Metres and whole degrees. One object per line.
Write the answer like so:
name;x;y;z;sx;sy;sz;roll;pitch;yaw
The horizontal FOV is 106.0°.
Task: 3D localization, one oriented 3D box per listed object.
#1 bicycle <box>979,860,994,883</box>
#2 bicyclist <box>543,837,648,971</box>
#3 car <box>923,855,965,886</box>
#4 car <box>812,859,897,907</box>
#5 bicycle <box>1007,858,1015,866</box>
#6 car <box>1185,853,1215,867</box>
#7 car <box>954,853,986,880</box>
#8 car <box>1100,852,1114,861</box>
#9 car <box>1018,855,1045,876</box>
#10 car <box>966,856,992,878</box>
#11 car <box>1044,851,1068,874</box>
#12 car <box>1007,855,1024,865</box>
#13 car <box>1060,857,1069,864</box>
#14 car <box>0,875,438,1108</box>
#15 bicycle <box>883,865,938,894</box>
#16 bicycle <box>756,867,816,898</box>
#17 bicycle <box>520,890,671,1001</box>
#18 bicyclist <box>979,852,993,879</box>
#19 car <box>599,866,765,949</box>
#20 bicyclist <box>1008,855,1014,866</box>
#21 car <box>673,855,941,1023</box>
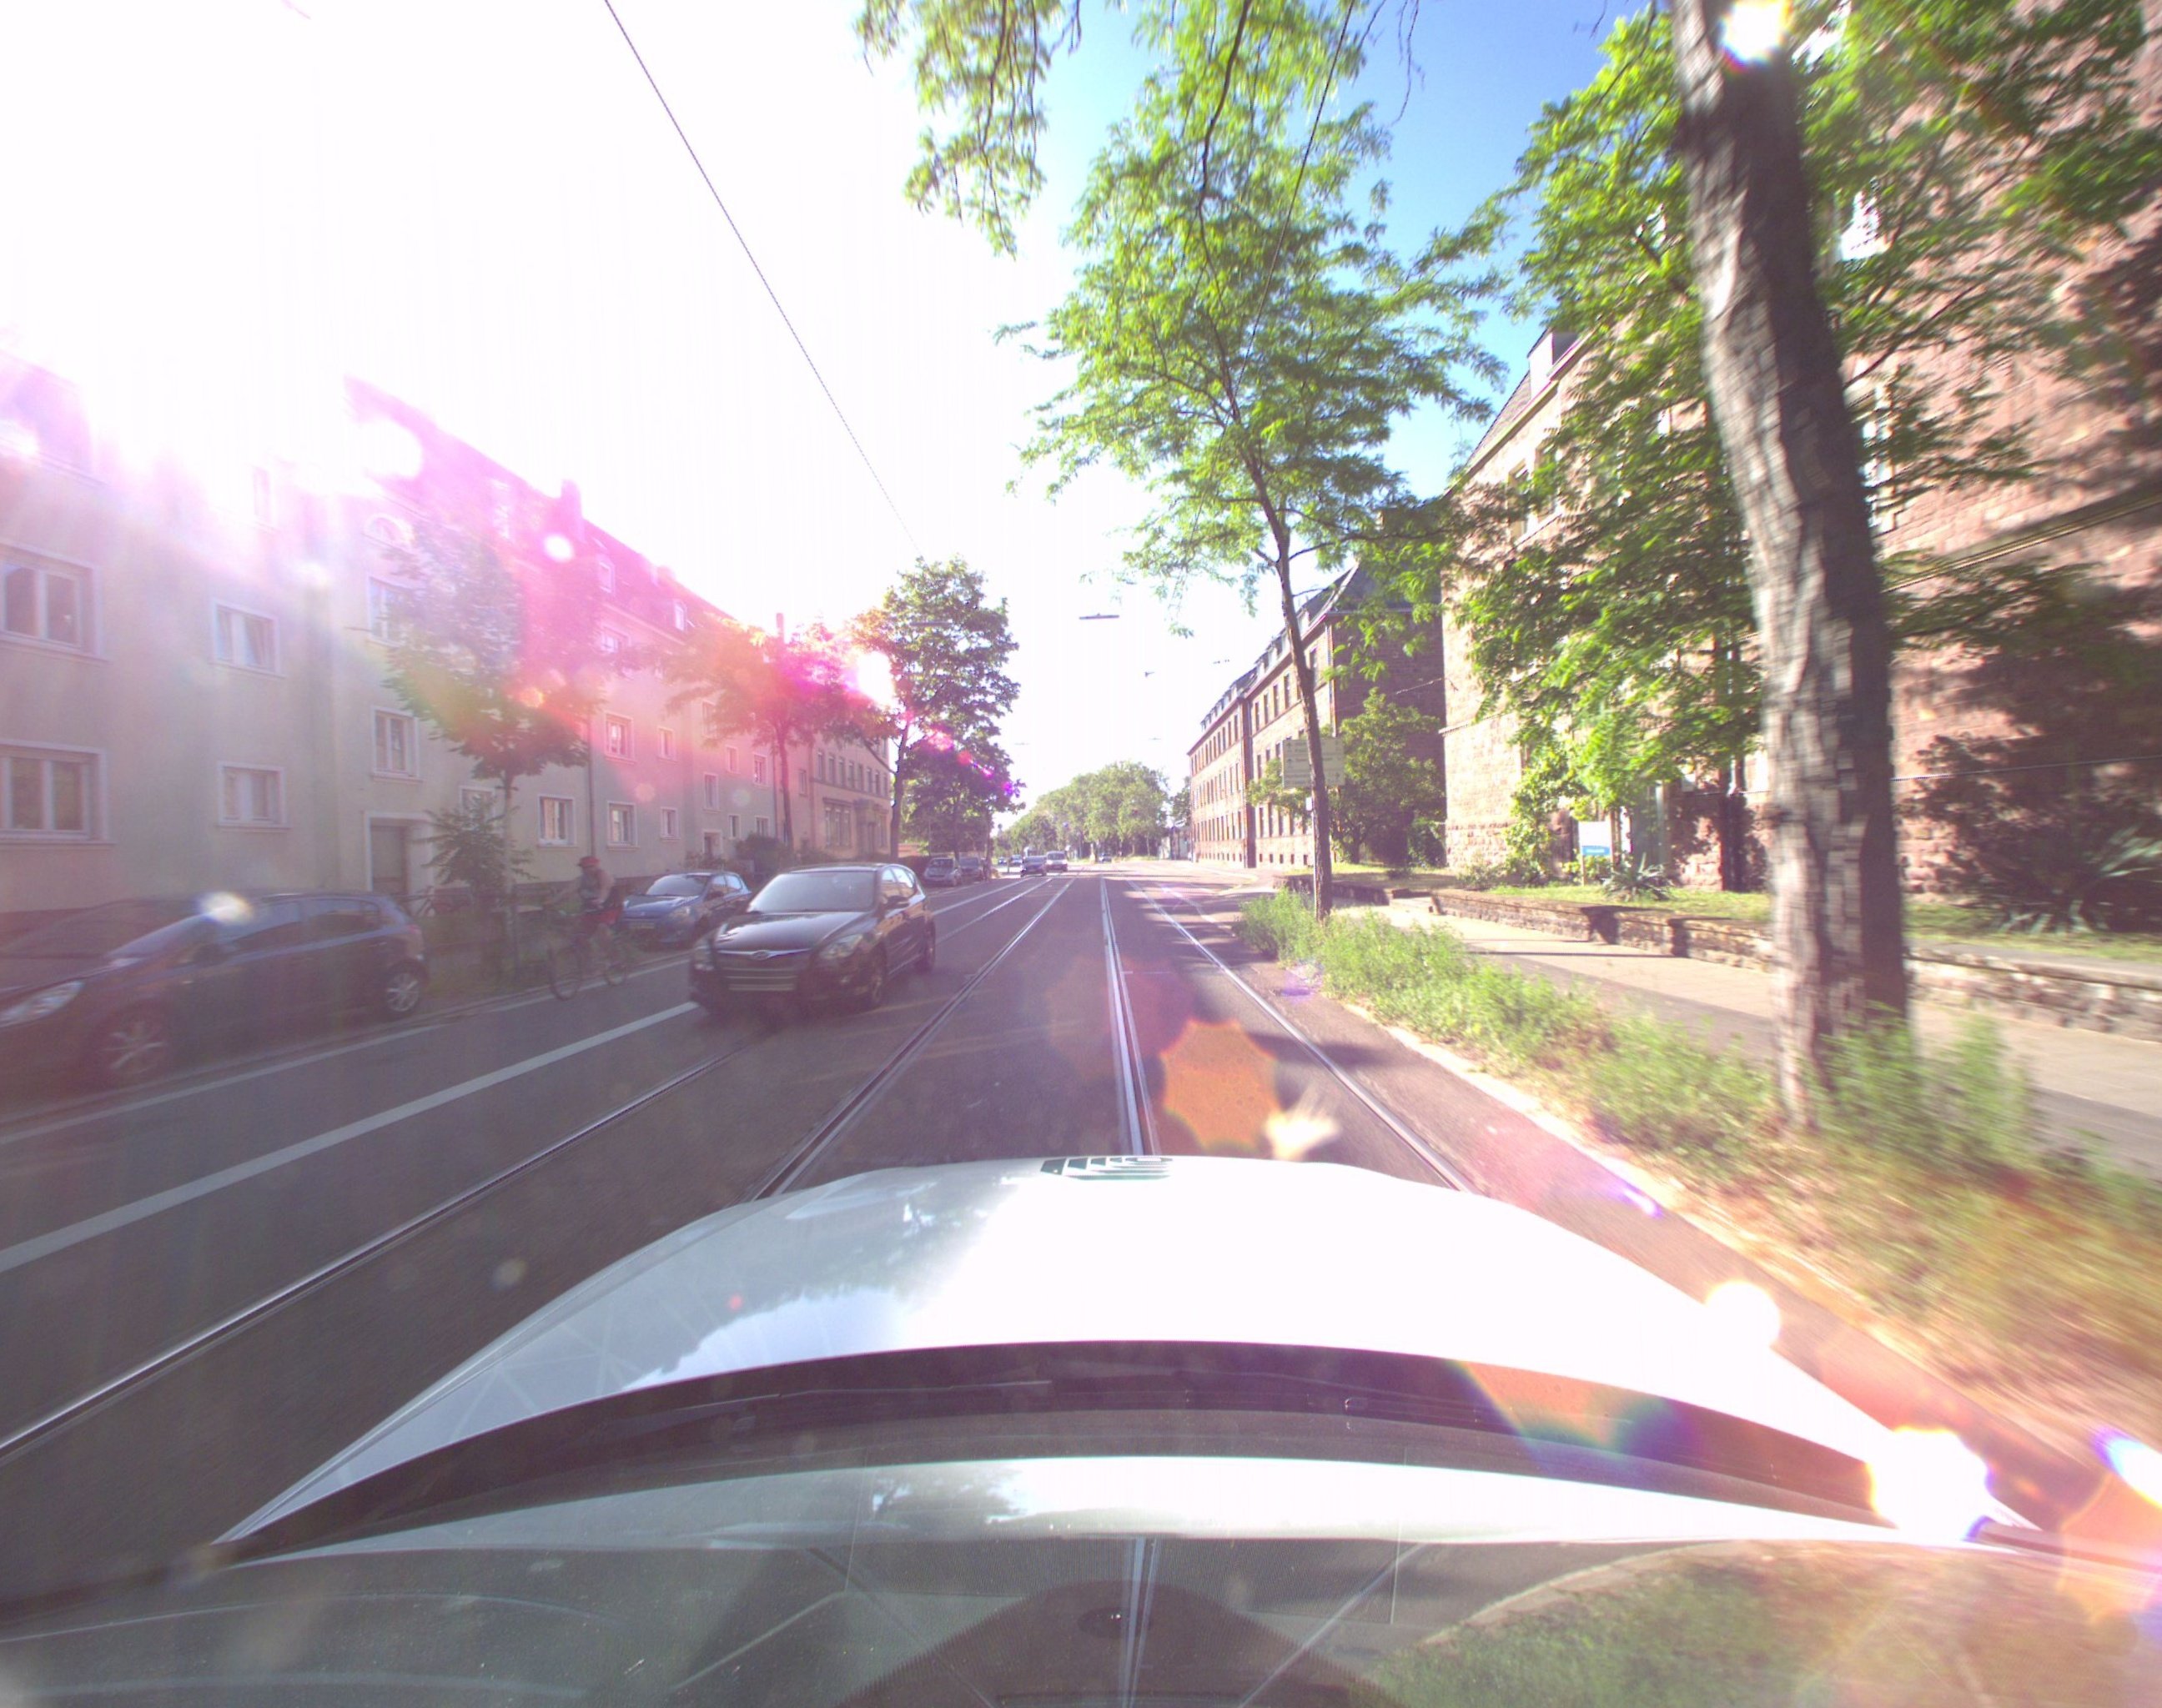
bicycle;-5.436;0.993;46.936;0.556;1.198;2.290;-5;0;-2
bicyclist;-6.262;0.622;10.553;0.707;1.607;0.865;-4;0;1
car;-7.531;0.873;45.102;1.740;1.569;4.067;1;0;-1
car;-7.837;0.957;28.636;1.740;1.490;4.323;1;0;0
bicycle;-10.256;1.141;119.202;0.750;1.087;2.166;-2;0;-14
car;15.898;0.795;109.218;3.569;1.655;1.838;-2;0;-11
car;-7.261;0.805;53.632;1.741;1.660;4.386;1;0;-3
car;4.529;0.434;141.848;1.939;1.610;3.994;-2;0;-4
car;-3.499;0.805;57.788;1.806;1.387;4.435;-2;0;-3
car;-7.297;0.931;58.575;1.578;1.488;3.608;1;0;-3
car;-2.139;0.686;70.022;1.803;1.888;4.441;-2;0;1
car;-9.861;0.915;122.840;1.995;1.504;3.983;-2;0;-12
car;-4.142;1.534;202.696;1.939;1.610;3.994;-2;0;-4
car;-8.276;1.001;7.505;1.681;1.485;3.759;1;0;0
bicycle;-7.422;1.098;35.467;2.272;1.198;0.561;1;1;7
bicycle;-11.966;1.134;33.092;2.272;1.198;0.561;1;1;7
bicycle;-6.225;1.125;10.591;0.692;1.177;1.913;-4;0;1
bicyclist;-5.467;0.657;46.949;0.556;1.456;0.869;-5;0;-2
car;-8.108;1.015;16.972;1.556;1.457;3.929;1;0;-1
bicyclist;-10.252;0.936;119.167;0.750;1.504;0.960;-2;0;-14
car;-2.843;0.780;9.449;1.694;1.471;4.071;-1;0;0
